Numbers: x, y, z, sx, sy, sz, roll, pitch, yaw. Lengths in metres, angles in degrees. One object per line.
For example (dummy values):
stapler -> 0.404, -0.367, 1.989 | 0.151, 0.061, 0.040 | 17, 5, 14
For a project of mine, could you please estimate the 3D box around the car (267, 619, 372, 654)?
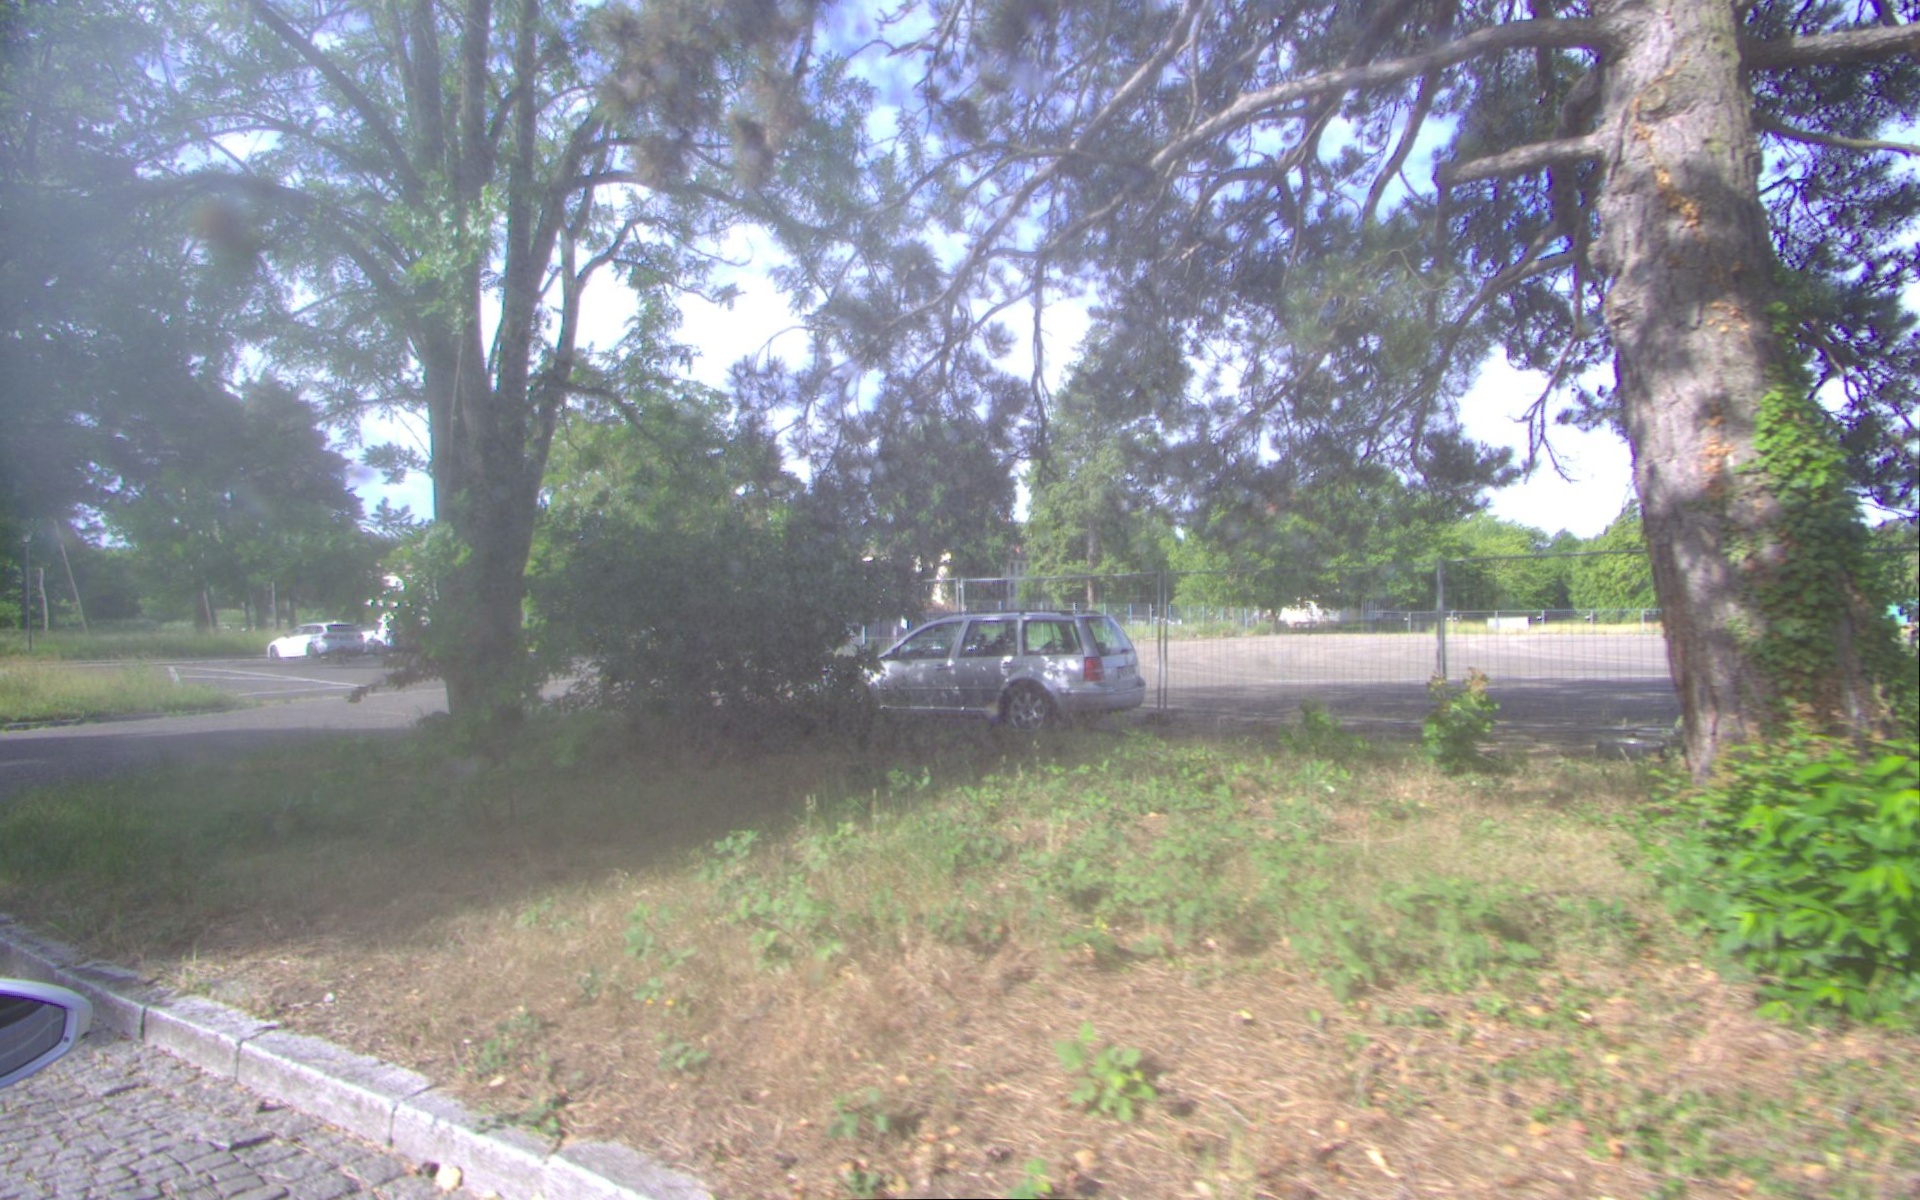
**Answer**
car -> -25.956, 1.451, 40.555 | 4.265, 1.329, 1.730 | -1, -1, 28

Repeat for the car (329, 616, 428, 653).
car -> -24.911, 1.460, 42.871 | 4.265, 1.496, 1.730 | -1, -1, 28

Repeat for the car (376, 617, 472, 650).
car -> -24.082, 1.467, 44.966 | 4.264, 1.330, 1.729 | 0, 2, 28

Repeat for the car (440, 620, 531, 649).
car -> -22.633, 1.639, 47.756 | 4.265, 1.329, 1.729 | -1, 0, 28

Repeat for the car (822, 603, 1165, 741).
car -> 0.384, 0.809, 12.449 | 3.938, 1.487, 1.666 | -1, -1, 28
